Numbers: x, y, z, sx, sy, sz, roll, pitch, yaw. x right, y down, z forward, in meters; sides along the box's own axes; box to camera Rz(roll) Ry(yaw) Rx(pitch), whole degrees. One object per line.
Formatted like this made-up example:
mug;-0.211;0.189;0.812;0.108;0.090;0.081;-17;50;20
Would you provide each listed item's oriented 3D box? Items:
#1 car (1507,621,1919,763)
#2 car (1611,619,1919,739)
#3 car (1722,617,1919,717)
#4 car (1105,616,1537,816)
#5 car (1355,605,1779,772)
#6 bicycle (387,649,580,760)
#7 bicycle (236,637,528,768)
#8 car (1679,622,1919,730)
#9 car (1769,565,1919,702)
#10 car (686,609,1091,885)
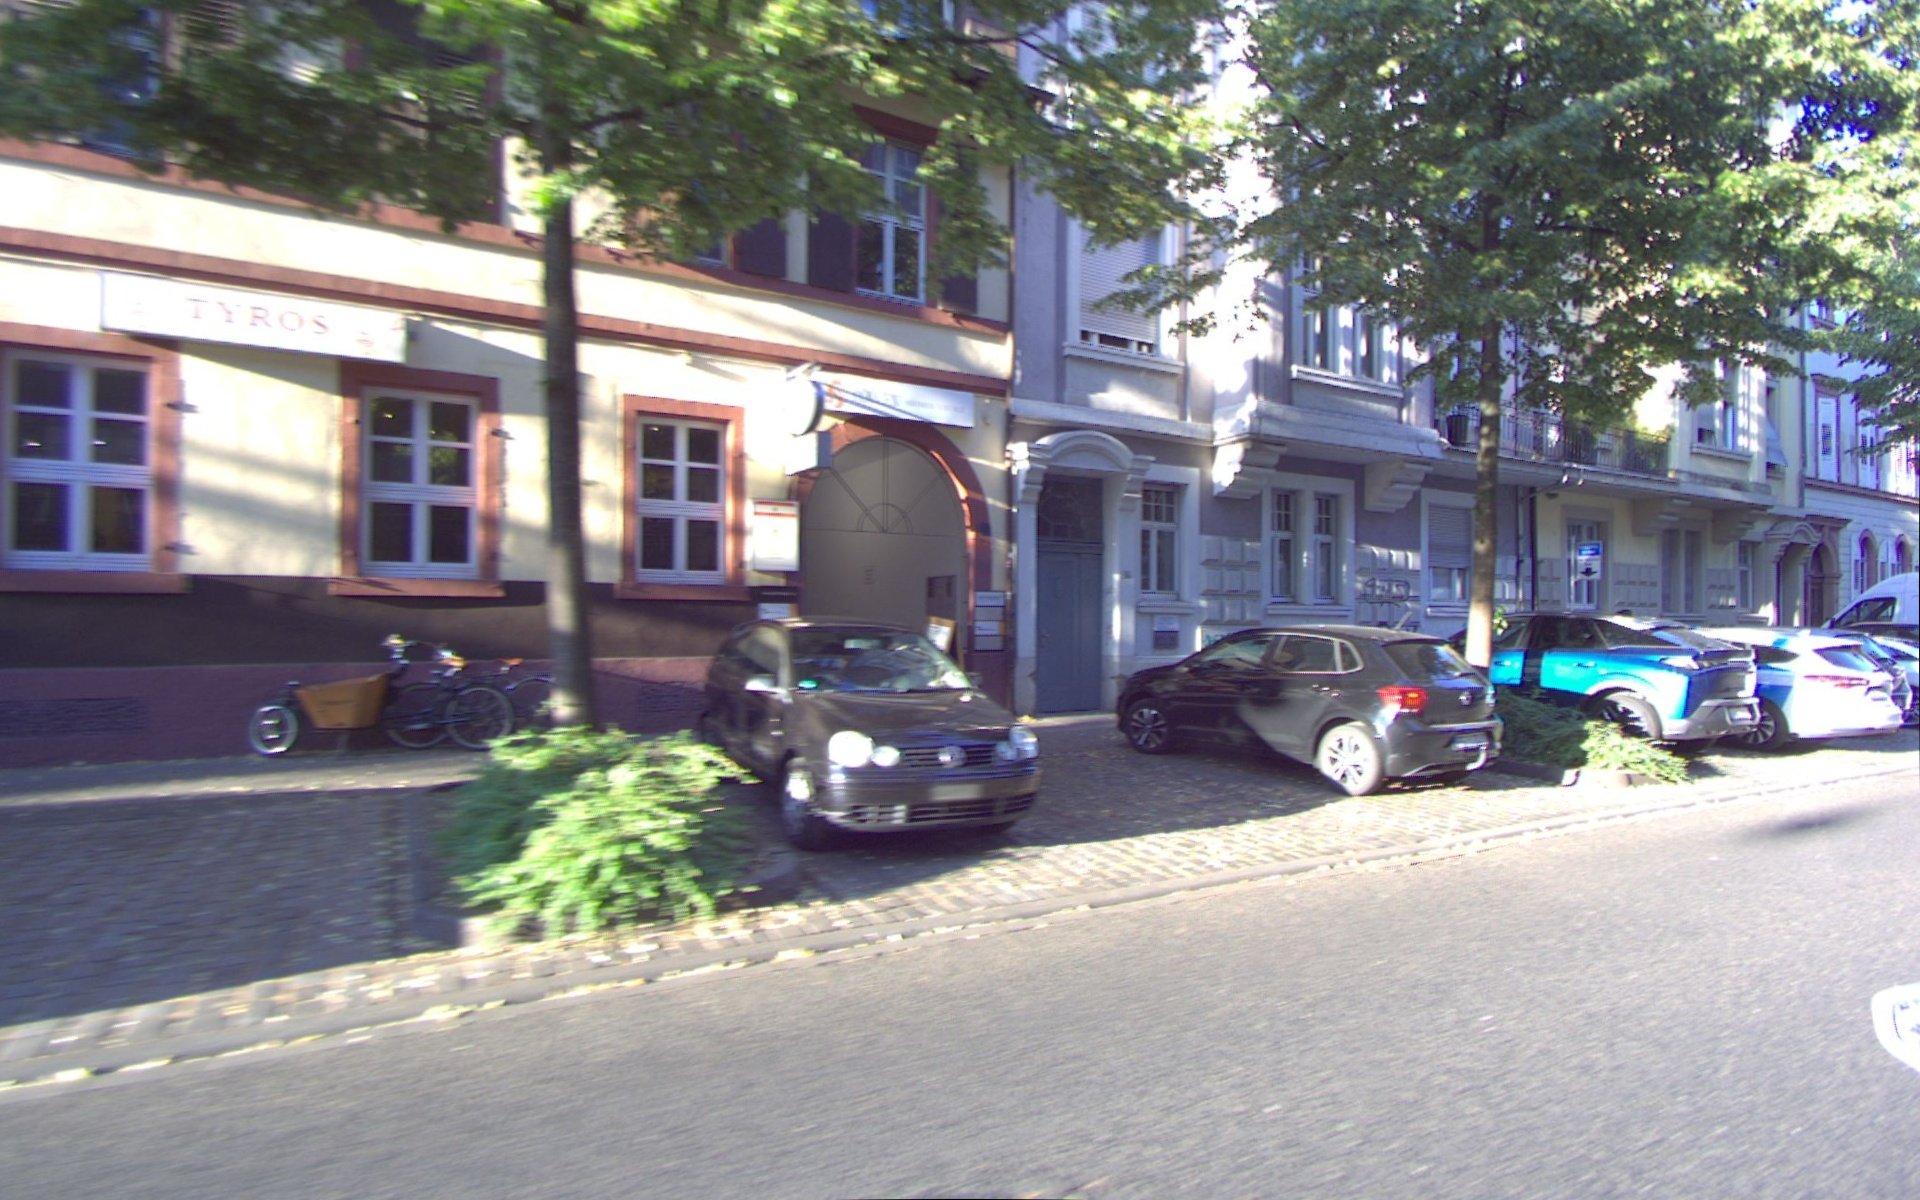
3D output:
car;10.085;1.098;13.763;1.947;1.502;4.165;1;0;-30
car;12.374;1.115;15.551;1.822;1.530;3.396;1;0;-26
car;16.687;1.170;18.184;1.951;1.621;4.195;1;0;-28
car;3.388;0.966;10.141;1.678;1.468;3.893;1;1;-32
car;7.431;0.945;12.733;1.873;1.672;4.205;1;0;-33
bicycle;-4.802;1.025;10.204;1.710;1.002;0.618;1;1;-26
bicycle;-5.429;0.928;9.624;2.332;1.114;0.708;1;0;-26
car;14.660;1.191;16.568;1.772;1.526;4.193;1;0;-30
car;19.755;0.678;19.726;2.145;2.656;5.632;1;0;-29
car;-0.807;0.857;7.730;1.766;1.468;3.770;1;0;-27
